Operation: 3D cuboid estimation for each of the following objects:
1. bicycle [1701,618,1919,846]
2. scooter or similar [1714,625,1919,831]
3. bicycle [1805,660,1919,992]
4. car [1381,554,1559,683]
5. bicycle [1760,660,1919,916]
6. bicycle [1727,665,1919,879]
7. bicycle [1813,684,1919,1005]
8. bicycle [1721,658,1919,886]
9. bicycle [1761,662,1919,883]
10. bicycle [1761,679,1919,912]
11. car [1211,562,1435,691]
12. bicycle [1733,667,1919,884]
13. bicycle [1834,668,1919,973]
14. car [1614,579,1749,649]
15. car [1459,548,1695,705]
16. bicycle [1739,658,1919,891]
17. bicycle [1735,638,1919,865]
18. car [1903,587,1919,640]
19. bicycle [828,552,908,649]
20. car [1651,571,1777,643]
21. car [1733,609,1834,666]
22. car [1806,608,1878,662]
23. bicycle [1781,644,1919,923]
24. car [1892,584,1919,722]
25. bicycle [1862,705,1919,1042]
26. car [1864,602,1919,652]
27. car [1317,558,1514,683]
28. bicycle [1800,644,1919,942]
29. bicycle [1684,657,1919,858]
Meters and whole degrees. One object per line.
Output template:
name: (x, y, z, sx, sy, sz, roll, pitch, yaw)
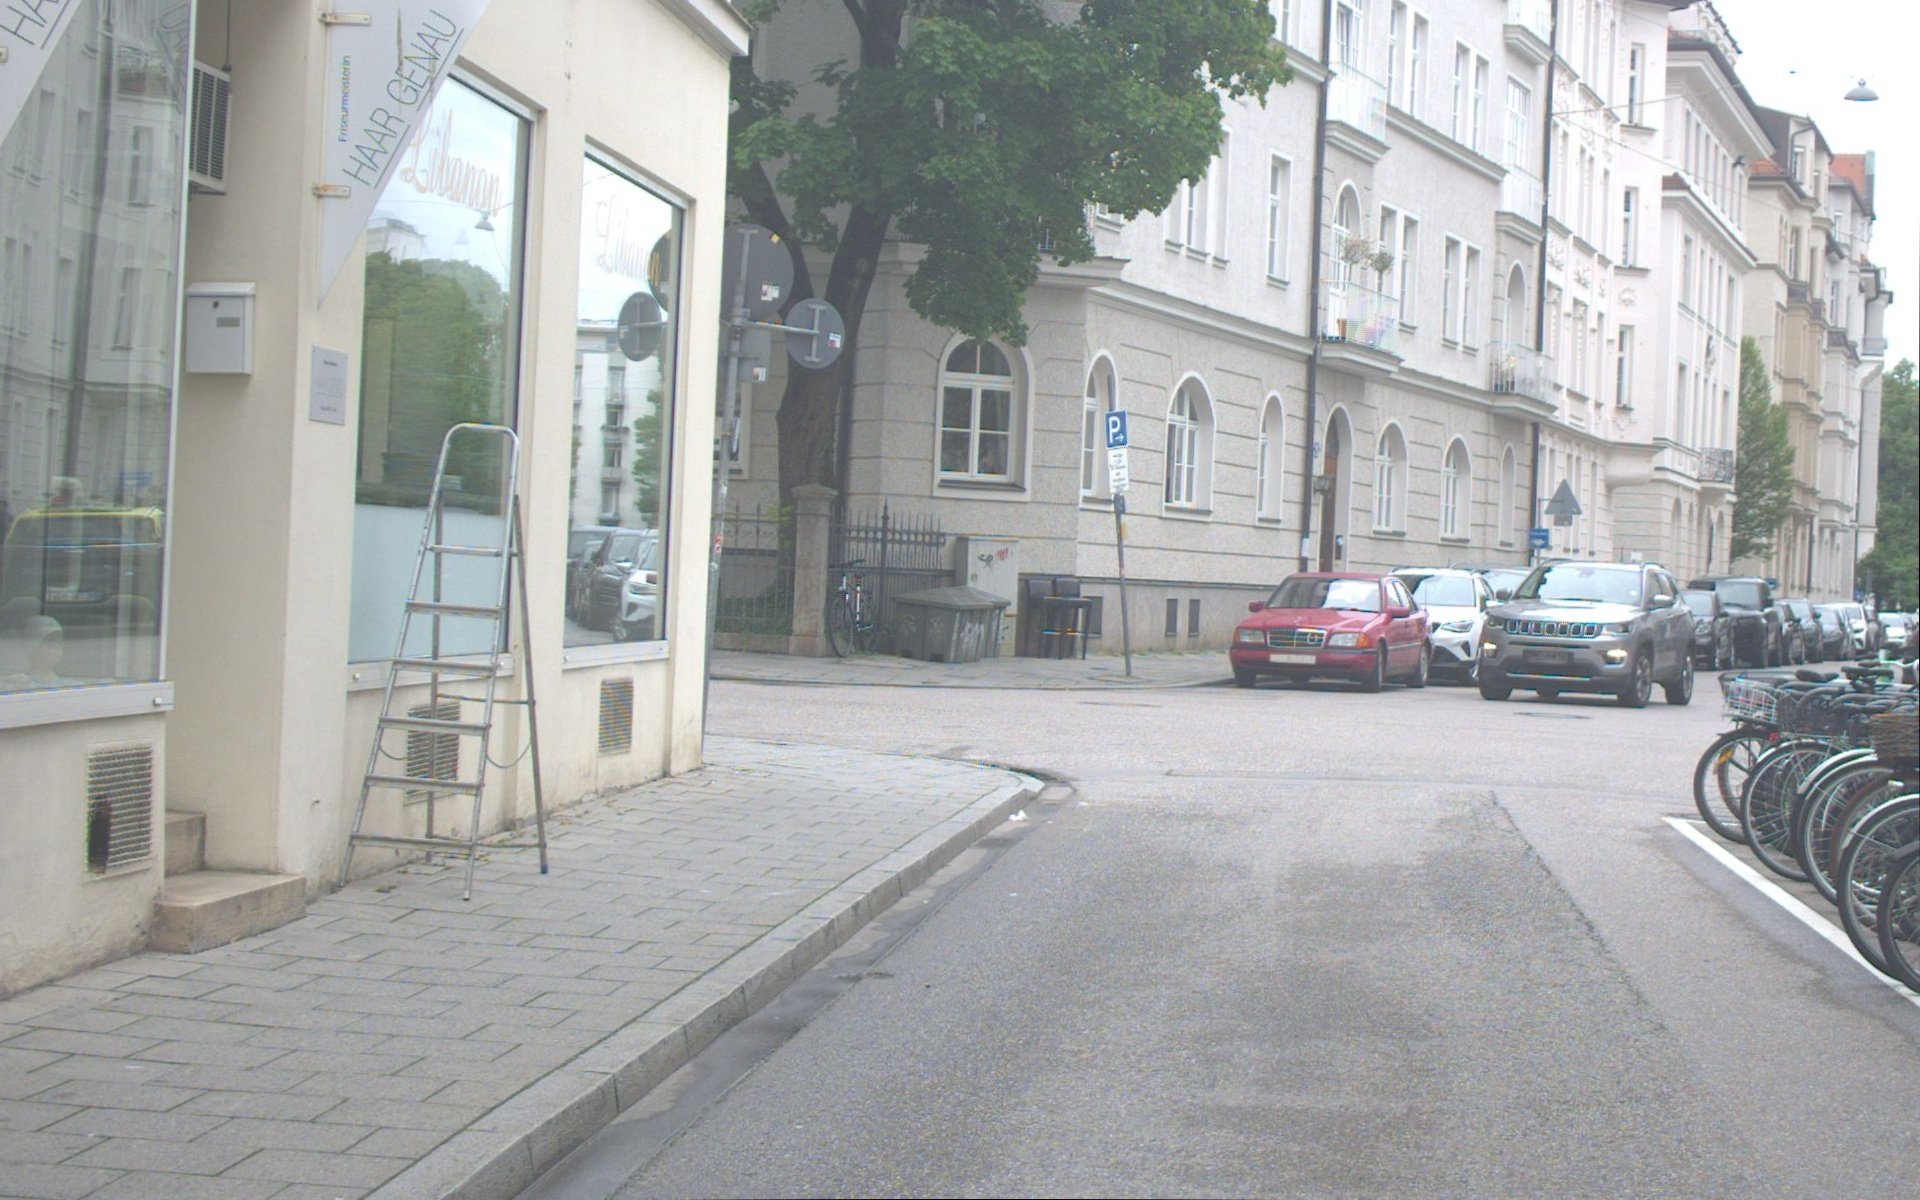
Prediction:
bicycle: (5.293, 0.799, 20.859, 1.457, 1.281, 0.445, 4, 1, 8)
scooter or similar: (5.482, 0.803, 21.639, 1.353, 1.206, 0.417, 3, 1, 8)
bicycle: (4.229, 0.888, 13.025, 1.874, 1.200, 0.488, 3, 2, 5)
car: (7.530, 0.259, 50.475, 1.944, 1.696, 3.997, 4, 1, 16)
bicycle: (4.641, 0.878, 15.578, 1.874, 1.091, 0.440, 3, 2, 3)
bicycle: (5.103, 0.947, 18.623, 1.740, 1.076, 0.452, 3, 2, 3)
bicycle: (4.141, 0.945, 12.512, 1.874, 1.104, 0.488, 4, 2, 5)
bicycle: (4.865, 0.889, 17.404, 1.874, 1.076, 0.408, 3, 2, 3)
bicycle: (5.030, 0.912, 17.827, 1.613, 1.076, 0.378, 3, 2, 3)
bicycle: (4.812, 0.947, 16.266, 1.874, 1.048, 0.564, 3, -1, 3)
car: (4.386, 0.305, 41.016, 1.732, 1.373, 4.223, 3, 1, 18)
bicycle: (5.002, 0.946, 18.219, 1.674, 1.076, 0.336, 3, 2, 3)
bicycle: (4.524, 0.933, 13.677, 1.874, 1.153, 0.565, 5, 2, 5)
car: (13.979, 0.275, 66.464, 1.909, 1.218, 3.996, 3, 1, 21)
car: (7.098, 0.282, 39.225, 1.959, 1.602, 4.305, 3, 1, 19)
bicycle: (4.853, 0.884, 16.963, 1.874, 1.076, 0.402, 3, 2, 3)
bicycle: (5.181, 0.862, 19.403, 1.451, 1.203, 0.395, 3, 1, -1)
car: (38.299, 0.568, 135.570, 1.848, 2.007, 3.996, 3, 1, 18)
bicycle: (-1.071, -0.008, 40.508, 0.494, 1.049, 1.826, 3, 3, 12)
car: (15.570, 0.150, 70.845, 1.909, 1.324, 3.996, 3, 1, 21)
car: (19.628, 0.885, 81.842, 1.908, 1.218, 3.996, 3, 1, 19)
car: (25.266, 0.997, 98.433, 1.735, 1.415, 3.997, 3, 1, 17)
bicycle: (4.621, 0.824, 15.033, 1.893, 1.166, 0.566, 2, 1, 4)
car: (12.890, 0.719, 43.115, 1.822, 1.630, 4.284, 5, 1, 20)
bicycle: (4.059, 0.988, 11.494, 1.874, 1.076, 0.488, 5, 2, 5)
car: (32.264, 0.920, 118.226, 1.995, 1.568, 3.996, 3, 1, 17)
car: (6.071, 0.257, 45.394, 1.995, 1.468, 4.215, 3, 1, 15)
bicycle: (4.542, 0.824, 14.410, 1.874, 1.200, 0.579, 2, 1, 5)
bicycle: (4.991, 0.911, 19.880, 1.451, 1.066, 0.463, 3, 1, -1)
